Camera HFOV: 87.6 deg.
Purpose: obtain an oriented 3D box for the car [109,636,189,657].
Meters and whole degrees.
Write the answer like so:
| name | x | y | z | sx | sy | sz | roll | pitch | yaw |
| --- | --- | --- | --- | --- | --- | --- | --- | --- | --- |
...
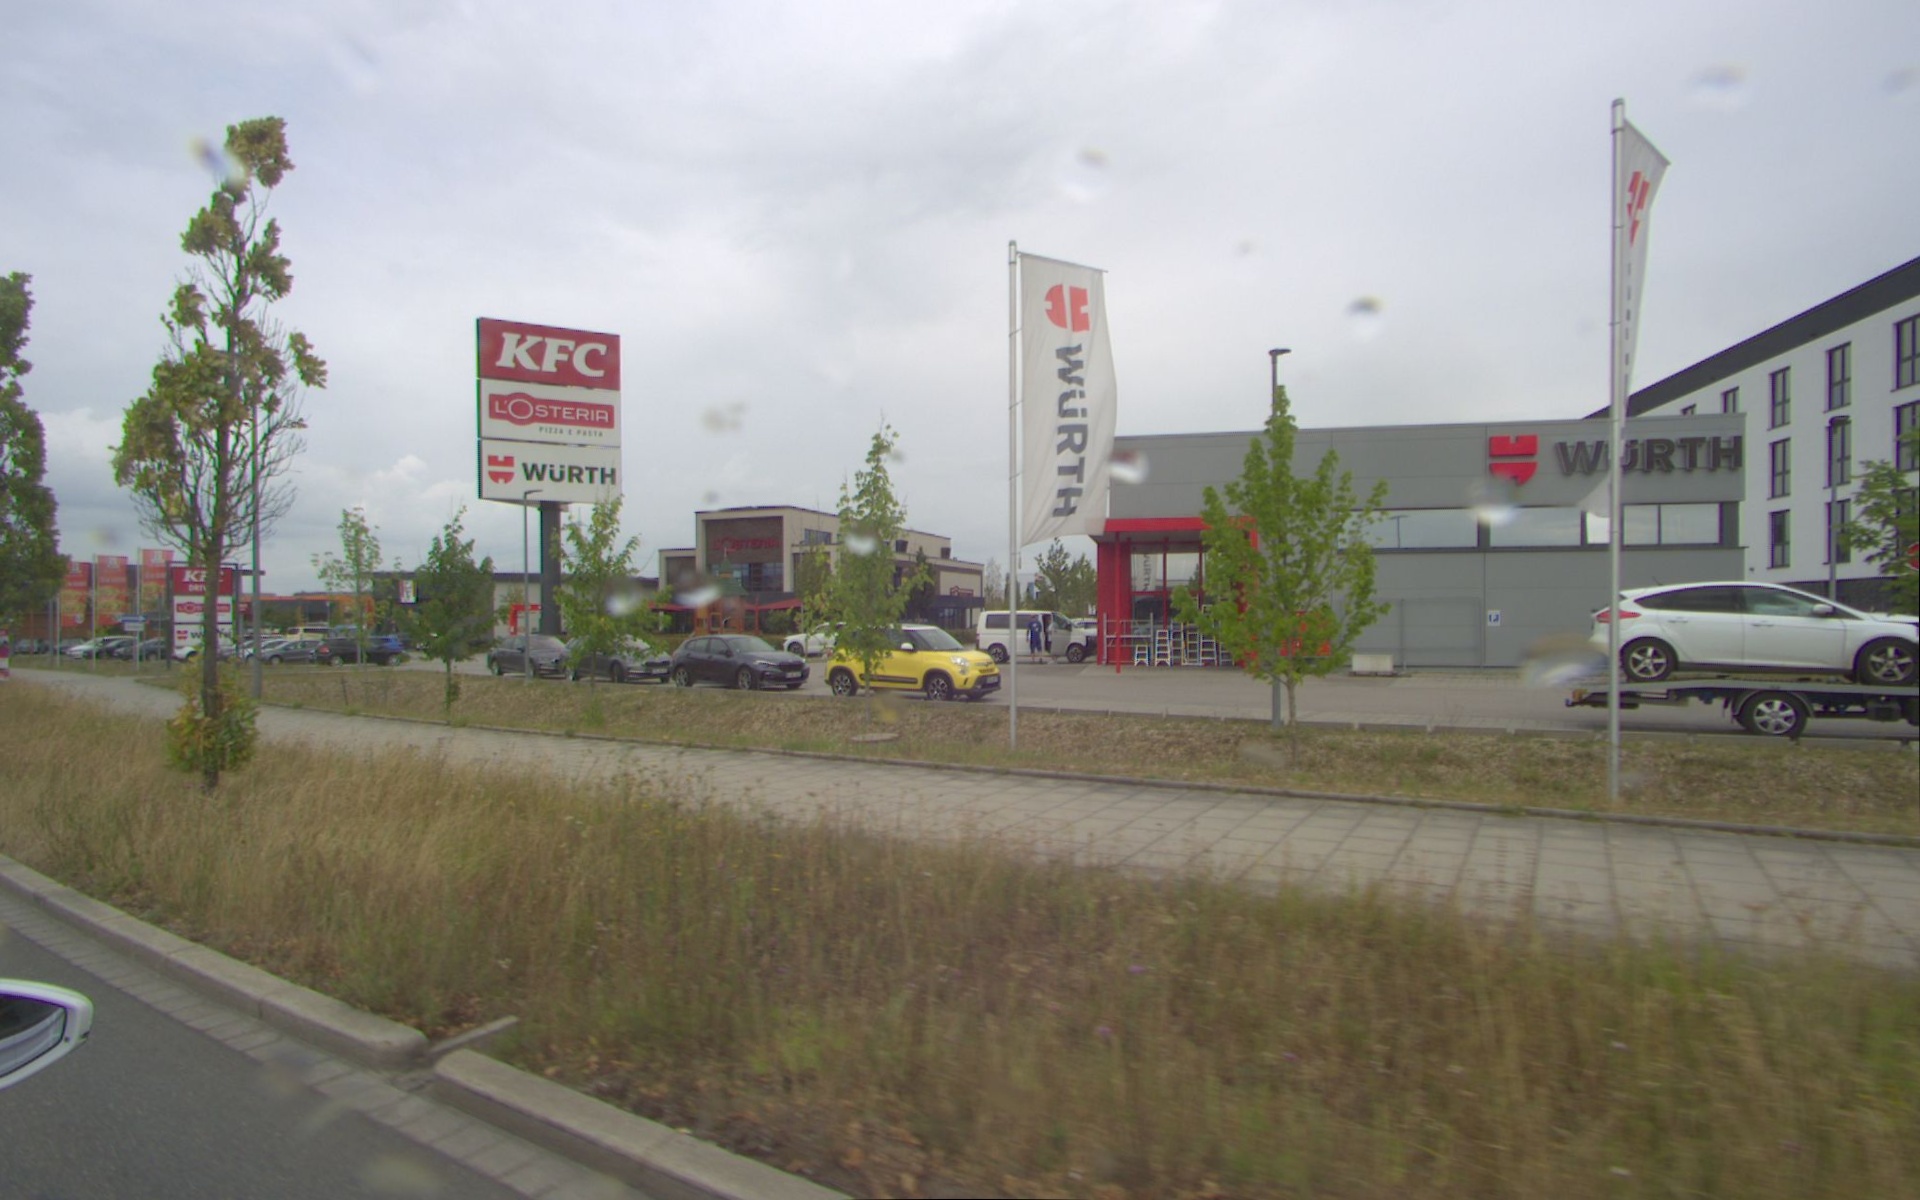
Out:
| name | x | y | z | sx | sy | sz | roll | pitch | yaw |
| --- | --- | --- | --- | --- | --- | --- | --- | --- | --- |
| car | -58.997 | 3.363 | 72.912 | 1.912 | 1.457 | 4.083 | -1 | -1 | 26 |

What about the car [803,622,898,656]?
| name | x | y | z | sx | sy | sz | roll | pitch | yaw |
| --- | --- | --- | --- | --- | --- | --- | --- | --- | --- |
| car | -5.589 | 1.987 | 51.470 | 4.452 | 1.699 | 2.133 | 0 | -1 | 11 |

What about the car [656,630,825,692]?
| name | x | y | z | sx | sy | sz | roll | pitch | yaw |
| --- | --- | --- | --- | --- | --- | --- | --- | --- | --- |
| car | -5.928 | 1.613 | 26.795 | 4.552 | 1.515 | 1.986 | -3 | -2 | 38 |

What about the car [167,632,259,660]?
| name | x | y | z | sx | sy | sz | roll | pitch | yaw |
| --- | --- | --- | --- | --- | --- | --- | --- | --- | --- |
| car | -50.560 | 3.058 | 67.815 | 2.059 | 1.666 | 4.551 | -1 | 0 | 33 |

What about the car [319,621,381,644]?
| name | x | y | z | sx | sy | sz | roll | pitch | yaw |
| --- | --- | --- | --- | --- | --- | --- | --- | --- | --- |
| car | -72.012 | 3.809 | 118.325 | 5.943 | 2.561 | 2.276 | 0 | -1 | -20 |

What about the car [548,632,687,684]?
| name | x | y | z | sx | sy | sz | roll | pitch | yaw |
| --- | --- | --- | --- | --- | --- | --- | --- | --- | --- |
| car | -10.628 | 1.728 | 30.876 | 4.822 | 1.455 | 1.855 | -1 | -1 | 40 |

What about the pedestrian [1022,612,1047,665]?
| name | x | y | z | sx | sy | sz | roll | pitch | yaw |
| --- | --- | --- | --- | --- | --- | --- | --- | --- | --- |
| pedestrian | 2.702 | 1.399 | 36.468 | 0.786 | 1.893 | 0.614 | 0 | -1 | -7 |

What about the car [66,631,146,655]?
| name | x | y | z | sx | sy | sz | roll | pitch | yaw |
| --- | --- | --- | --- | --- | --- | --- | --- | --- | --- |
| car | -65.334 | 3.267 | 76.682 | 1.905 | 1.661 | 4.351 | -1 | -1 | 22 |

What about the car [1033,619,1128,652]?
| name | x | y | z | sx | sy | sz | roll | pitch | yaw |
| --- | --- | --- | --- | --- | --- | --- | --- | --- | --- |
| car | 6.047 | 1.773 | 50.103 | 4.492 | 1.539 | 2.078 | -1 | 0 | 15 |

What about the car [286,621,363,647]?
| name | x | y | z | sx | sy | sz | roll | pitch | yaw |
| --- | --- | --- | --- | --- | --- | --- | --- | --- | --- |
| car | -59.354 | 3.139 | 93.660 | 2.495 | 2.381 | 5.672 | -1 | -1 | 26 |

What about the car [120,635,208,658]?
| name | x | y | z | sx | sy | sz | roll | pitch | yaw |
| --- | --- | --- | --- | --- | --- | --- | --- | --- | --- |
| car | -56.578 | 3.287 | 71.289 | 2.001 | 1.488 | 4.514 | -1 | -1 | 28 |

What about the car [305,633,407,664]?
| name | x | y | z | sx | sy | sz | roll | pitch | yaw |
| --- | --- | --- | --- | --- | --- | --- | --- | --- | --- |
| car | -31.716 | 2.513 | 52.620 | 1.944 | 1.539 | 4.241 | -1 | -2 | 42 |

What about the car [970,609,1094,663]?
| name | x | y | z | sx | sy | sz | roll | pitch | yaw |
| --- | --- | --- | --- | --- | --- | --- | --- | --- | --- |
| car | 2.792 | 1.377 | 38.437 | 4.548 | 2.013 | 1.999 | 0 | -1 | 11 |

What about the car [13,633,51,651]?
| name | x | y | z | sx | sy | sz | roll | pitch | yaw |
| --- | --- | --- | --- | --- | --- | --- | --- | --- | --- |
| car | -91.119 | 4.149 | 98.373 | 1.973 | 1.738 | 3.978 | 1 | -2 | -32 |

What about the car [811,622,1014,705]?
| name | x | y | z | sx | sy | sz | roll | pitch | yaw |
| --- | --- | --- | --- | --- | --- | --- | --- | --- | --- |
| car | -1.115 | 1.362 | 22.608 | 4.347 | 1.708 | 1.760 | -1 | -1 | 32 |

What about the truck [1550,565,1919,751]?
| name | x | y | z | sx | sy | sz | roll | pitch | yaw |
| --- | --- | --- | --- | --- | --- | --- | --- | --- | --- |
| truck | 12.787 | 0.754 | 13.588 | 8.105 | 2.356 | 2.220 | -1 | -1 | 36 |

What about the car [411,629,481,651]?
| name | x | y | z | sx | sy | sz | roll | pitch | yaw |
| --- | --- | --- | --- | --- | --- | --- | --- | --- | --- |
| car | -39.787 | 3.078 | 77.643 | 2.046 | 1.539 | 4.563 | -1 | -1 | 23 |

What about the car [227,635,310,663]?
| name | x | y | z | sx | sy | sz | roll | pitch | yaw |
| --- | --- | --- | --- | --- | --- | --- | --- | --- | --- |
| car | -42.740 | 3.012 | 61.931 | 1.879 | 1.501 | 3.846 | -1 | 0 | 38 |

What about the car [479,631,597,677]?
| name | x | y | z | sx | sy | sz | roll | pitch | yaw |
| --- | --- | --- | --- | --- | --- | --- | --- | --- | --- |
| car | -14.680 | 1.819 | 34.731 | 4.778 | 1.479 | 1.952 | -1 | -1 | 42 |

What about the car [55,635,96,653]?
| name | x | y | z | sx | sy | sz | roll | pitch | yaw |
| --- | --- | --- | --- | --- | --- | --- | --- | --- | --- |
| car | -73.951 | 3.660 | 83.736 | 1.791 | 1.330 | 3.830 | 0 | -1 | -30 |

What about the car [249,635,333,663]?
| name | x | y | z | sx | sy | sz | roll | pitch | yaw |
| --- | --- | --- | --- | --- | --- | --- | --- | --- | --- |
| car | -39.200 | 2.852 | 58.750 | 1.868 | 1.513 | 3.742 | -1 | -2 | 40 |

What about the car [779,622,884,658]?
| name | x | y | z | sx | sy | sz | roll | pitch | yaw |
| --- | --- | --- | --- | --- | --- | --- | --- | --- | --- |
| car | -6.243 | 1.946 | 48.844 | 4.704 | 1.719 | 1.999 | -1 | -1 | 14 |

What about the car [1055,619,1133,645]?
| name | x | y | z | sx | sy | sz | roll | pitch | yaw |
| --- | --- | --- | --- | --- | --- | --- | --- | --- | --- |
| car | 8.264 | 1.950 | 61.621 | 4.492 | 1.539 | 2.078 | -1 | 0 | 15 |

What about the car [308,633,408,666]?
| name | x | y | z | sx | sy | sz | roll | pitch | yaw |
| --- | --- | --- | --- | --- | --- | --- | --- | --- | --- |
| car | -30.273 | 2.453 | 50.404 | 1.962 | 1.513 | 3.963 | -2 | -2 | 45 |
